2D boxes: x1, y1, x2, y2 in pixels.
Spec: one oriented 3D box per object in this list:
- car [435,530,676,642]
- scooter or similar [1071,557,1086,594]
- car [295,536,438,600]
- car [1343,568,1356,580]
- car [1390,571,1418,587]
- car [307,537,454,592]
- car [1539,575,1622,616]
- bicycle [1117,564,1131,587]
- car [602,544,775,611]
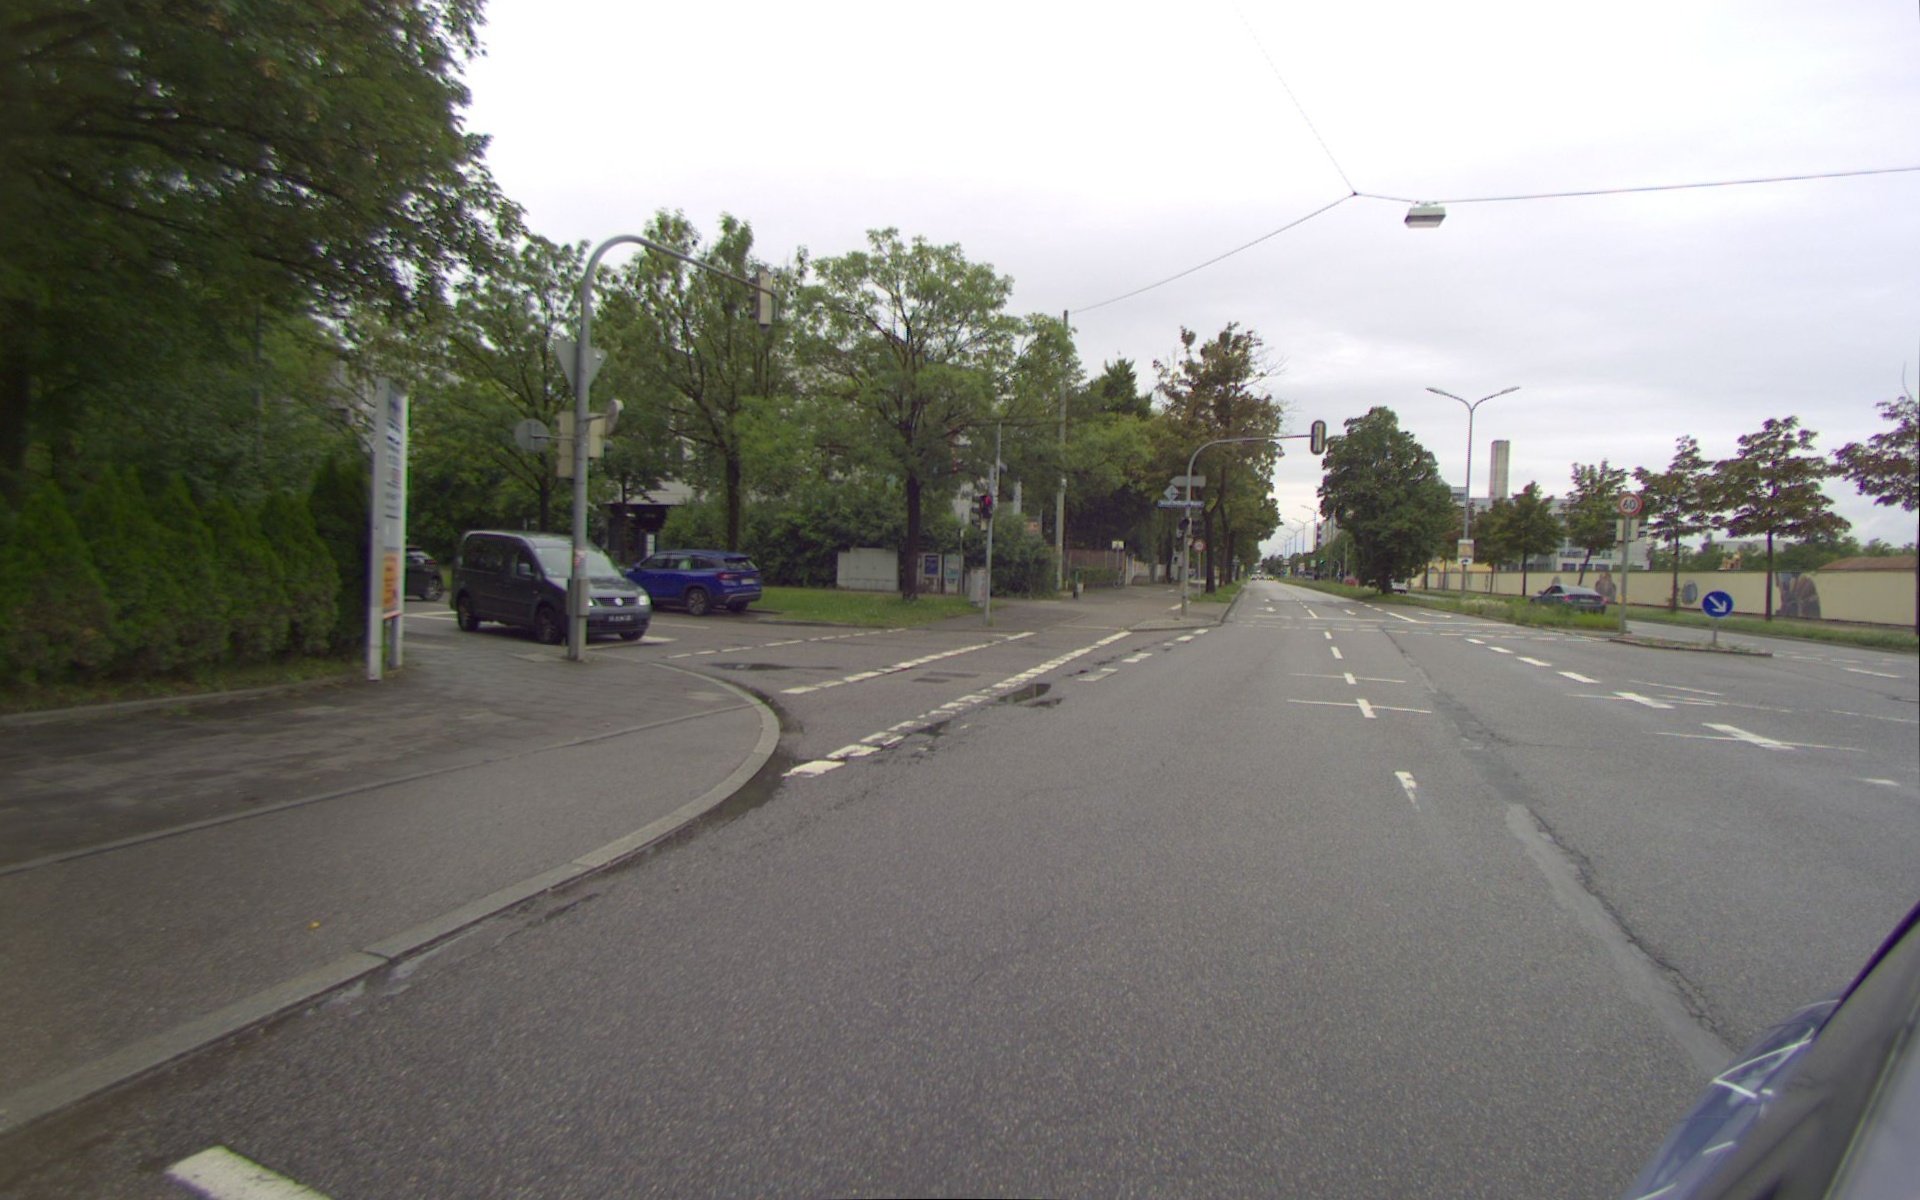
[{"bbox_3d":[-7.314,-0.318,18.059,4.769,1.744,1.971,3,2,40],"label":"car"},{"bbox_3d":[4.780,-0.994,40.825,0.364,1.441,1.405,3,2,1],"label":"scooter or similar"},{"bbox_3d":[-14.947,-0.794,25.677,1.634,1.461,3.280,2,1,2],"label":"car"},{"bbox_3d":[60.626,-4.017,157.592,1.468,1.736,3.535,4,2,15],"label":"car"},{"bbox_3d":[45.999,-2.199,104.912,1.857,1.485,4.483,4,3,14],"label":"car"},{"bbox_3d":[-18.207,-1.167,31.824,4.112,1.593,1.753,2,4,20],"label":"car"},{"bbox_3d":[26.664,-0.242,43.671,1.892,1.525,4.416,4,3,17],"label":"car"},{"bbox_3d":[9.648,-1.431,59.486,0.575,1.311,2.444,4,2,14],"label":"bicycle"},{"bbox_3d":[-7.248,-0.658,26.988,4.240,1.593,1.983,2,4,26],"label":"car"}]
